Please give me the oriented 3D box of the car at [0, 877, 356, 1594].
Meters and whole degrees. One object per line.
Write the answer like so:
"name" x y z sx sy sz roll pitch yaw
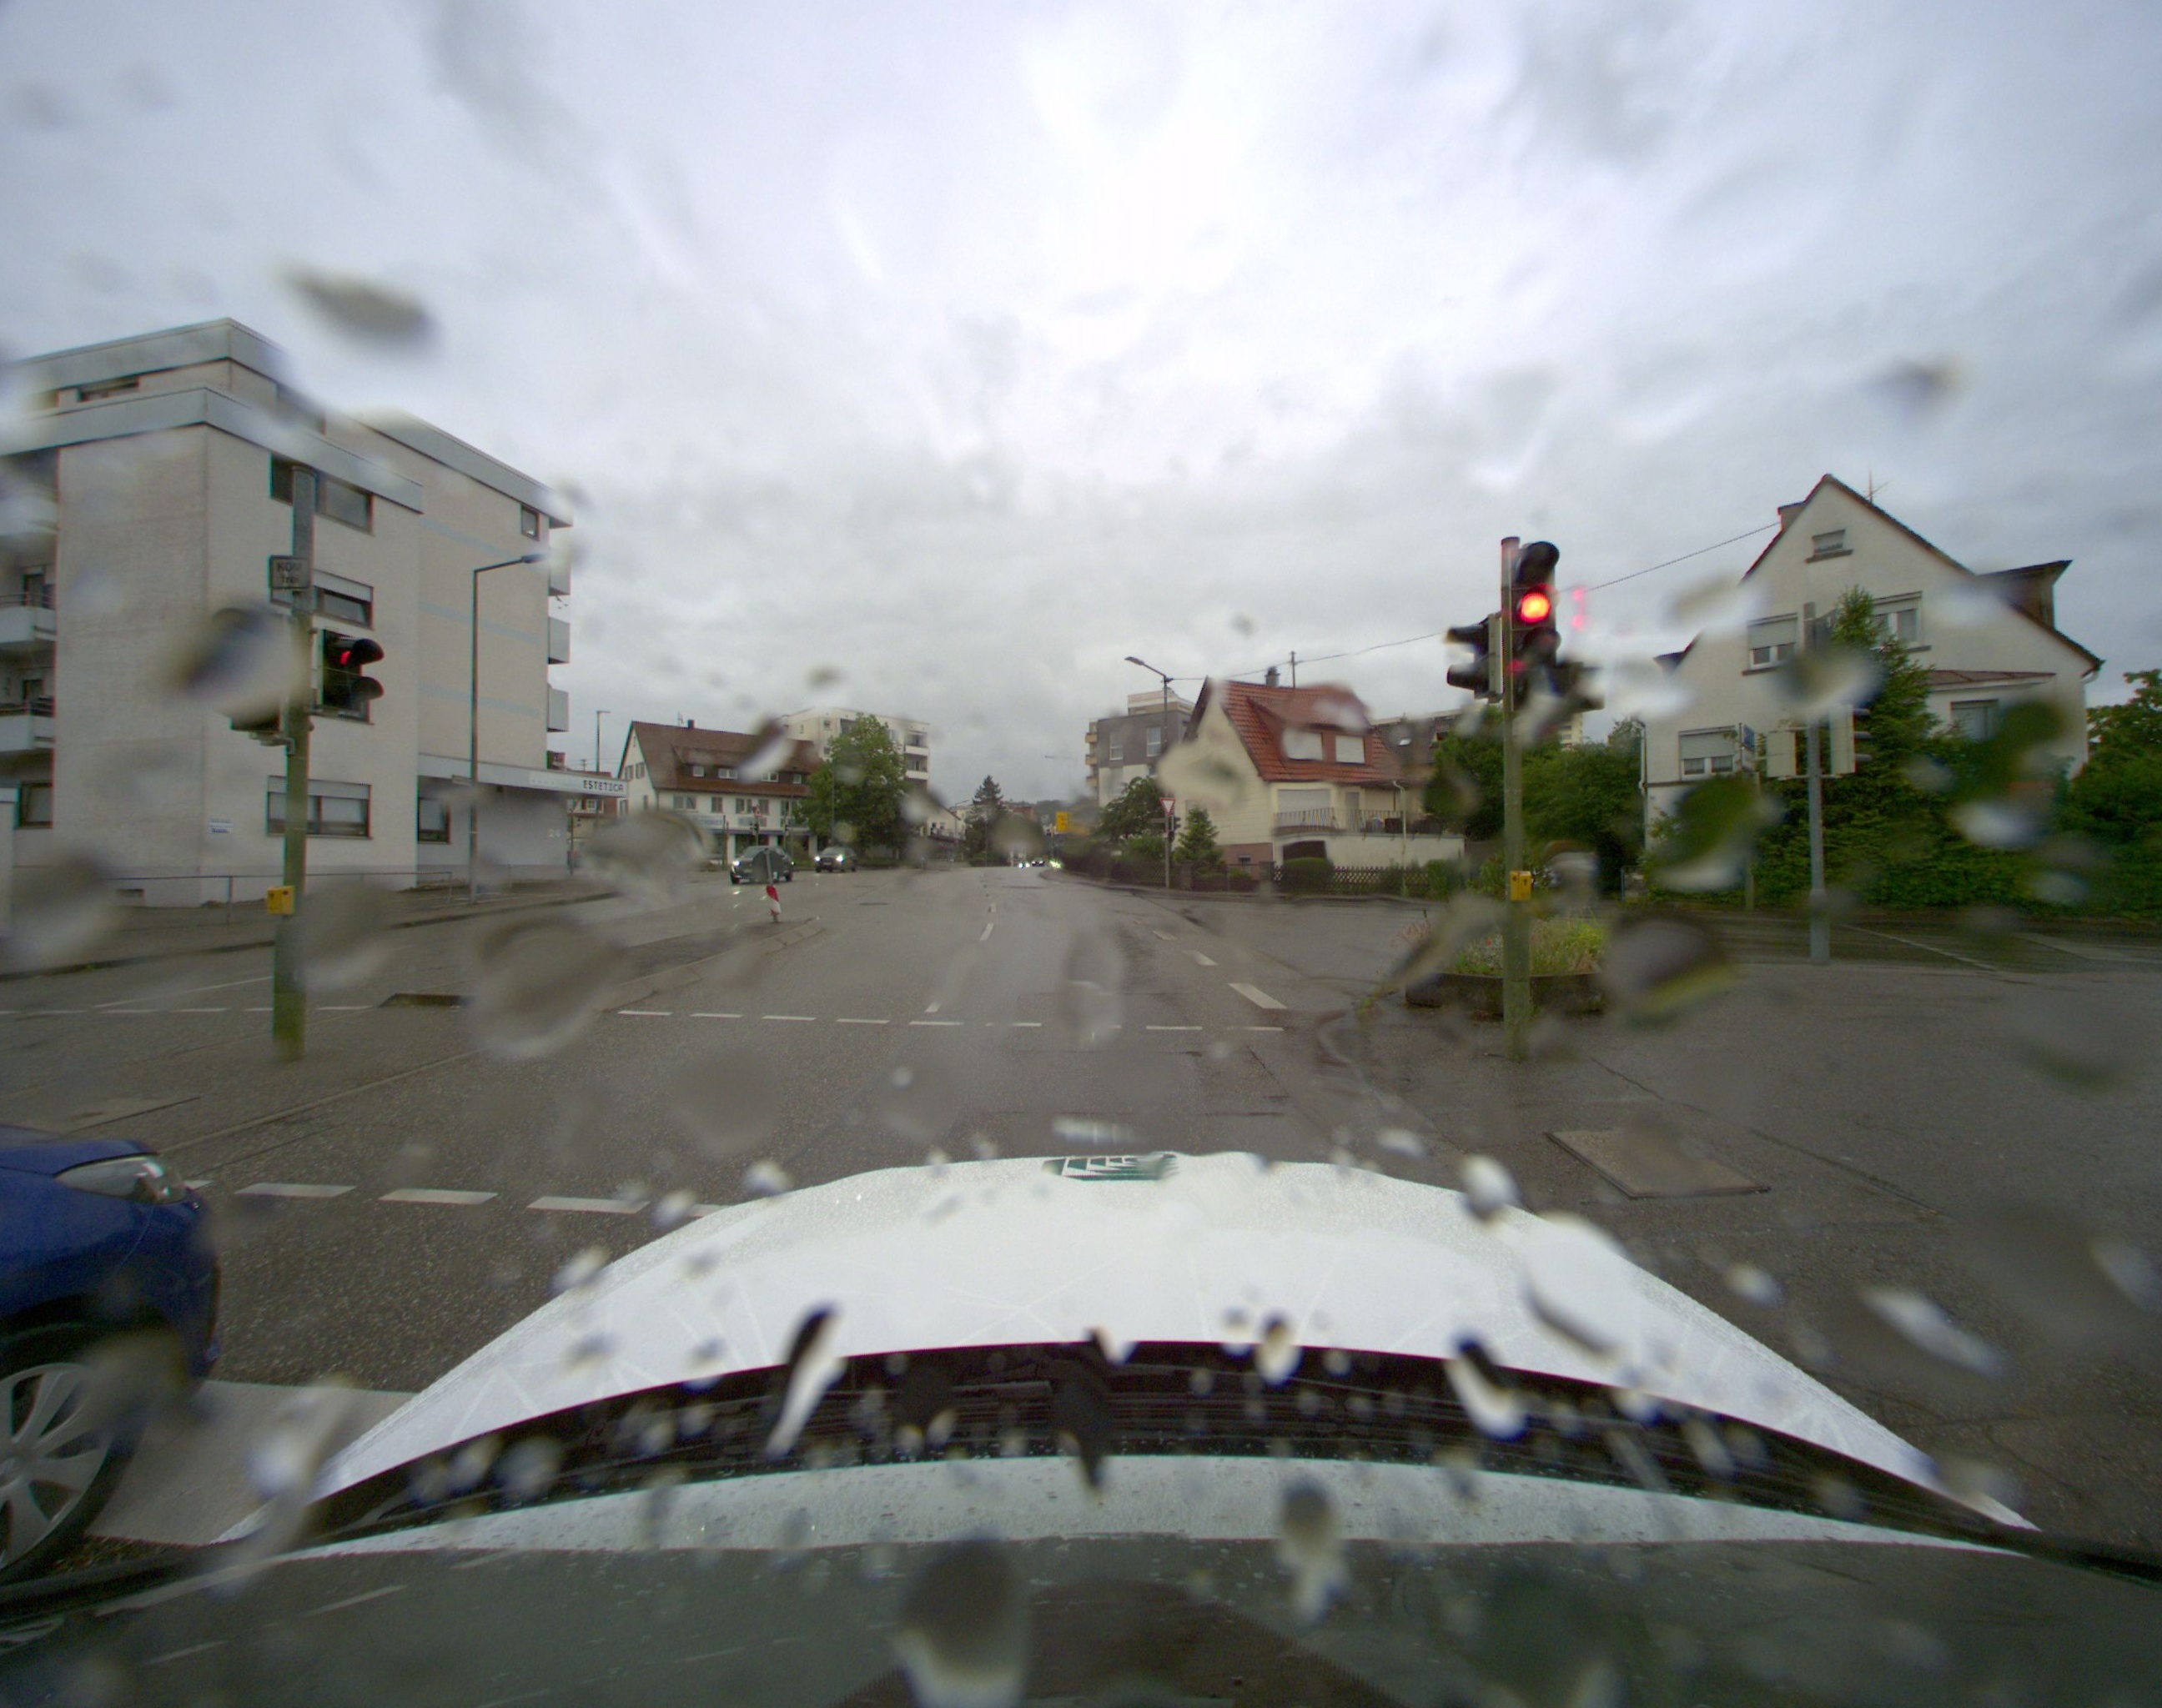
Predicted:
"car" -2.952 0.787 0.737 1.499 1.413 3.365 0 0 2

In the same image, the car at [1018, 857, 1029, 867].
"car" -11.396 1.523 160.801 1.989 1.904 3.996 0 -1 -3

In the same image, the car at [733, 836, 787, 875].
"car" -13.245 0.066 33.755 1.974 1.512 3.972 0 -1 -20

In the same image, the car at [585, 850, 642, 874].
"car" -38.450 0.630 66.987 3.706 1.920 1.864 0 -1 -44

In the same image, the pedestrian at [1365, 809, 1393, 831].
"pedestrian" 12.767 -1.433 34.870 0.918 0.883 0.632 0 -3 -18

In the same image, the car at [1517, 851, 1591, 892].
"car" 17.108 0.598 29.385 1.794 1.362 4.025 -1 -1 37

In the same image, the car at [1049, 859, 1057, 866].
"car" -6.709 2.067 195.890 1.989 1.679 3.996 0 -1 -3

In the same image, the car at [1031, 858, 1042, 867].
"car" -8.276 1.580 151.551 1.990 1.737 5.173 0 0 -4

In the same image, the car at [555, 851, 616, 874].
"car" -41.224 0.670 67.809 4.093 1.843 1.864 0 -1 -44

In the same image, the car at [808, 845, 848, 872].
"car" -16.116 0.287 52.032 1.878 1.597 4.171 0 -1 -9
